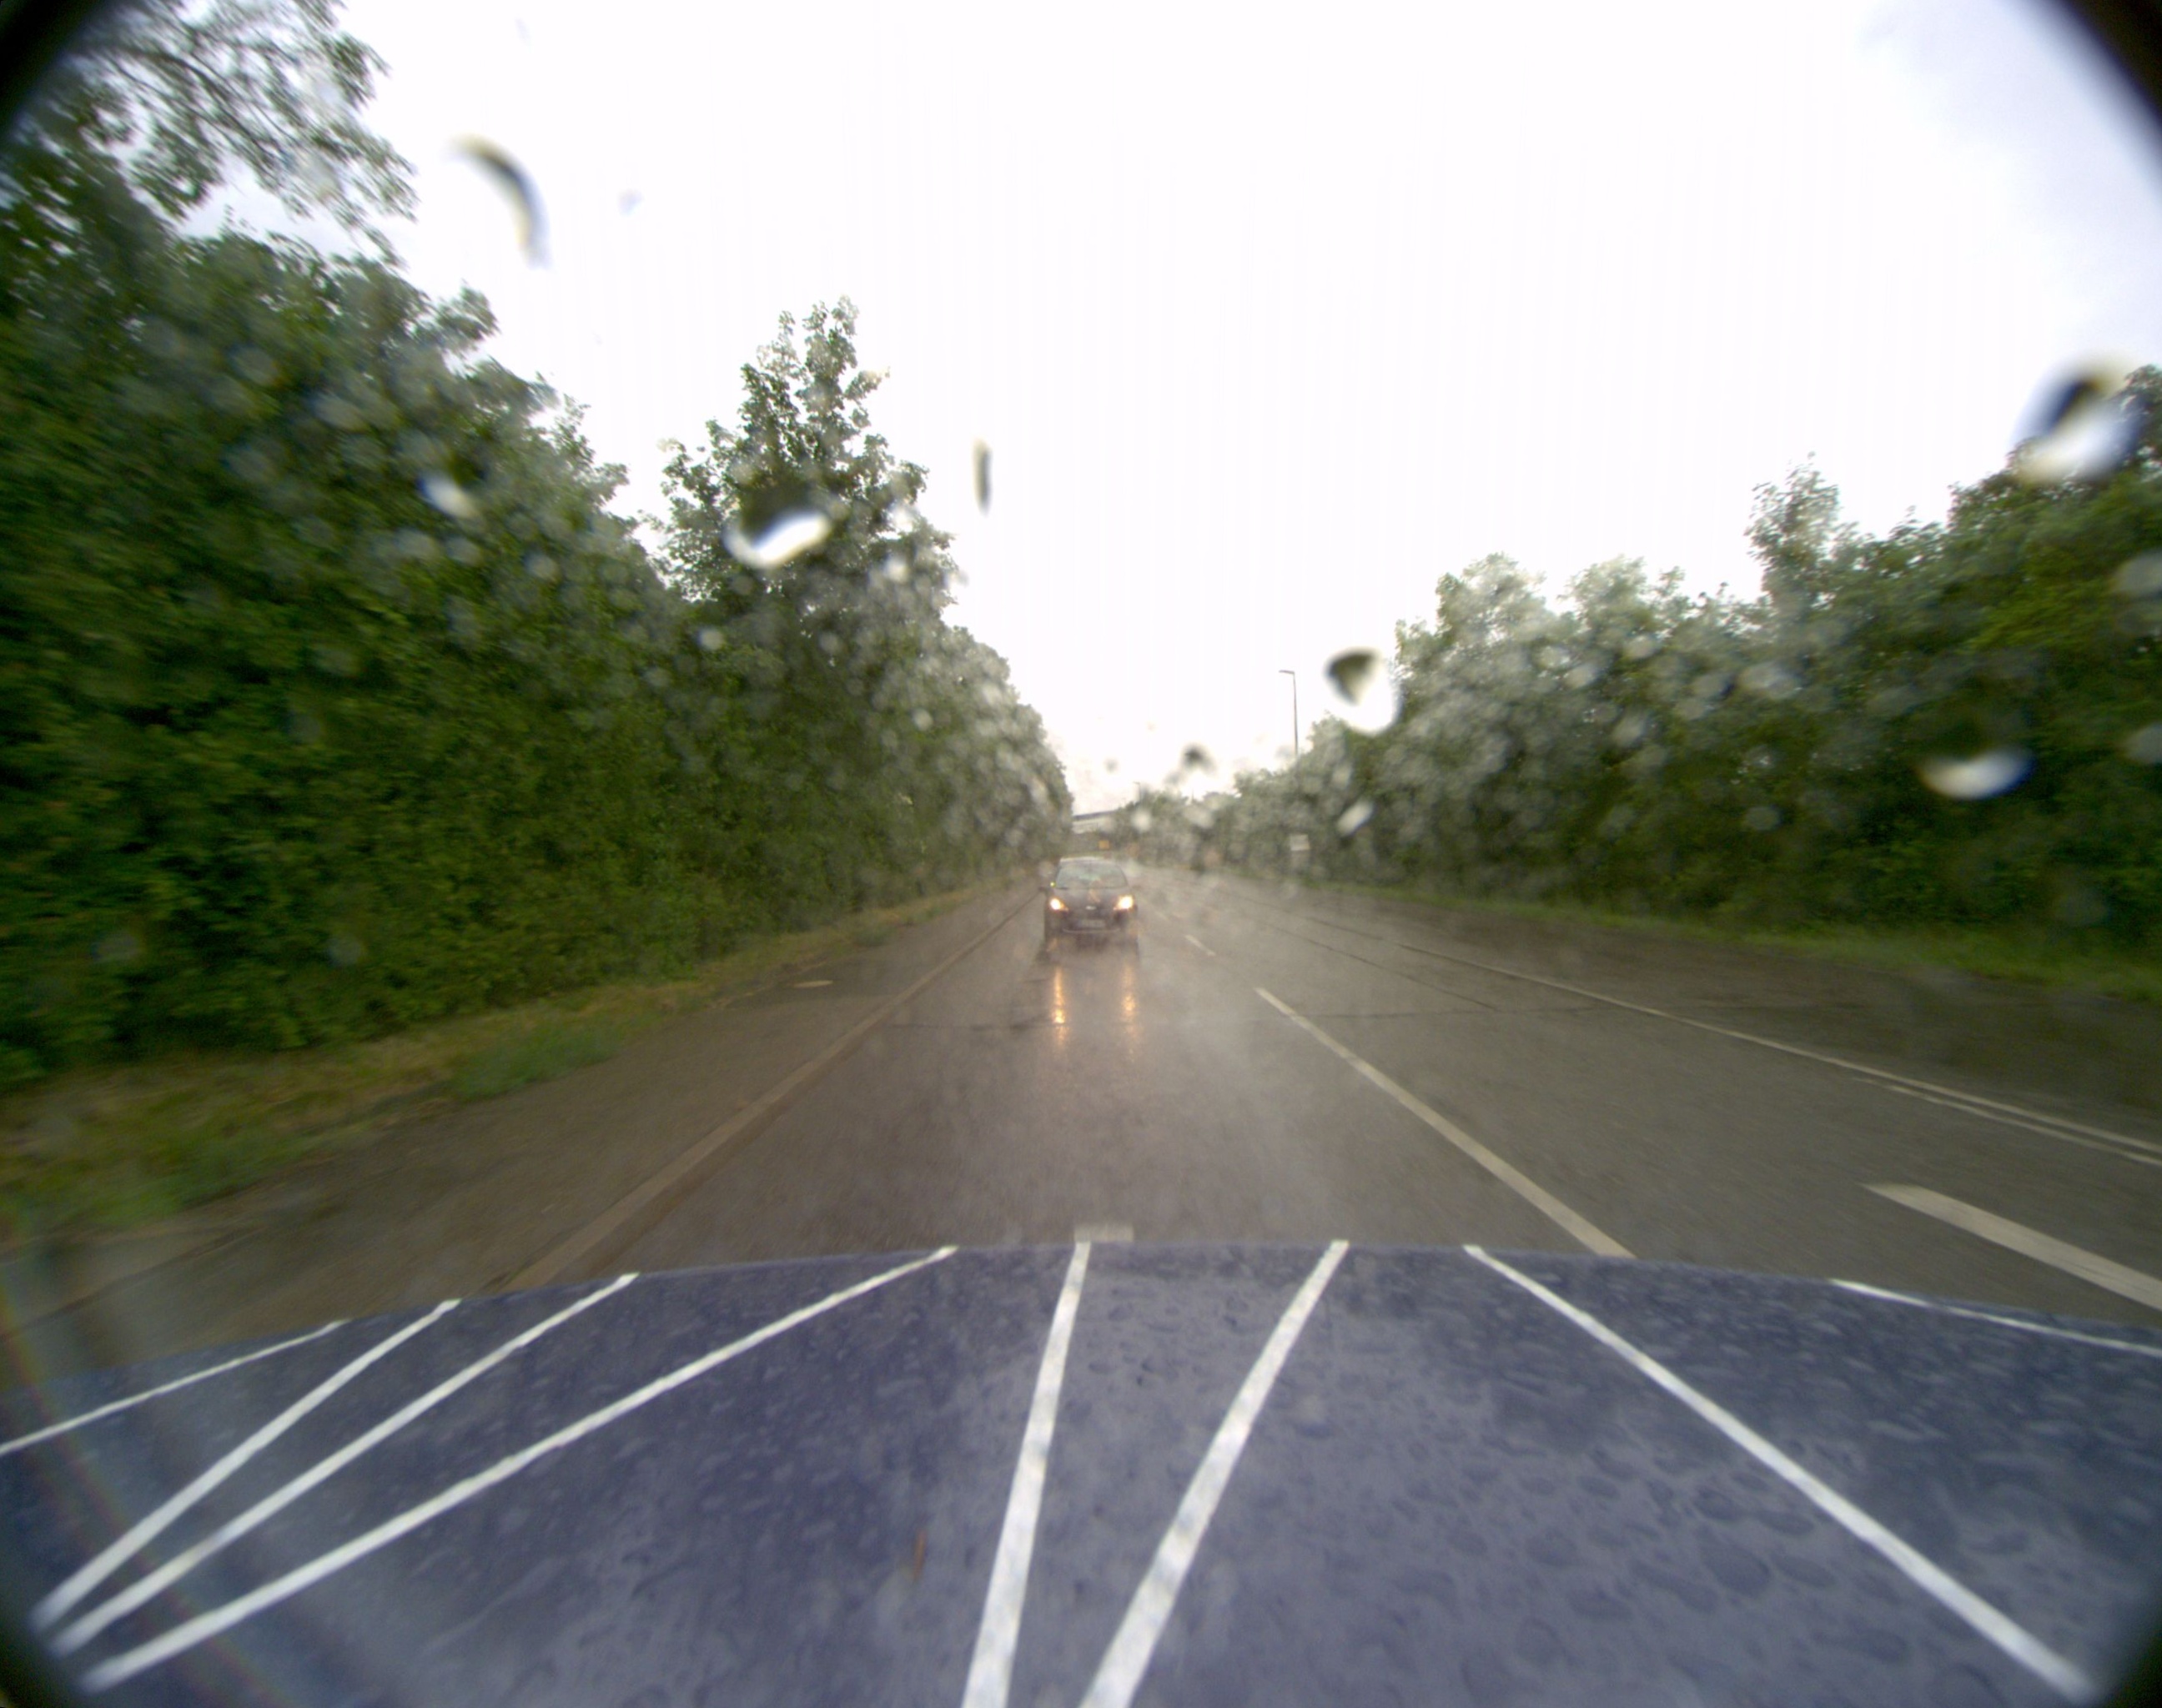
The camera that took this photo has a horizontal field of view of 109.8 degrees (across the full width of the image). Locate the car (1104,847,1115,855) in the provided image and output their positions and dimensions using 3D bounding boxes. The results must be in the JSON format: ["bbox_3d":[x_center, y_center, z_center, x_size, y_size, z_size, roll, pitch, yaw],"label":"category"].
[{"bbox_3d":[5.833,-0.636,154.288,1.998,1.576,3.999,-1,1,0],"label":"car"}]

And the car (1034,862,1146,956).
[{"bbox_3d":[0.171,0.941,14.899,1.839,1.404,4.342,-1,1,1],"label":"car"}]

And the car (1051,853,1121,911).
[{"bbox_3d":[0.169,0.824,24.215,1.998,1.576,3.999,-1,1,1],"label":"car"}]
